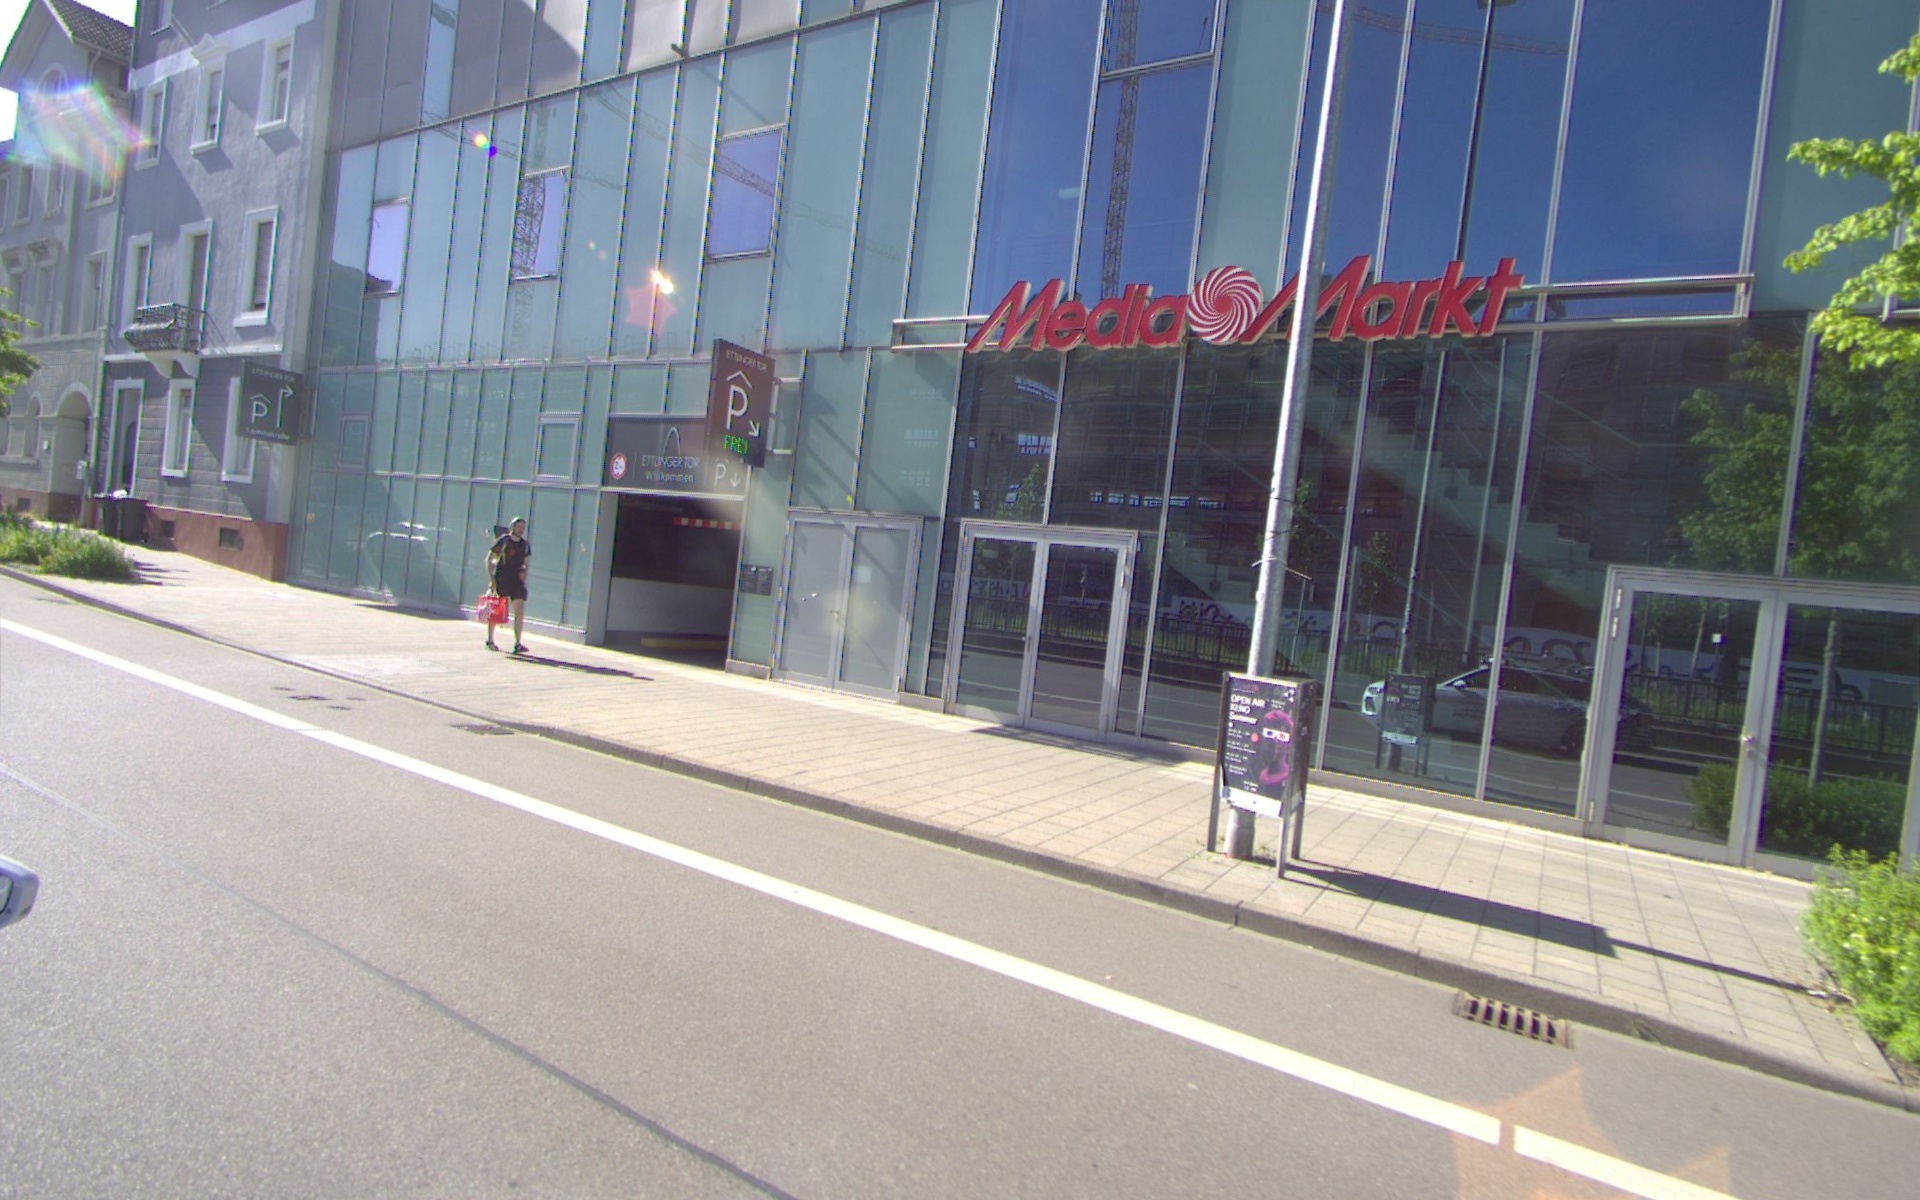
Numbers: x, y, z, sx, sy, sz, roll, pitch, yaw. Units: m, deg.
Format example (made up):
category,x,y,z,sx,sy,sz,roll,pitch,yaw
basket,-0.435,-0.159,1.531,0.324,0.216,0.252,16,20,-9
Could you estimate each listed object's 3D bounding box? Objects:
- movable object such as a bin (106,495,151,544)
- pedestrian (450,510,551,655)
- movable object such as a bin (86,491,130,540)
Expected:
category,x,y,z,sx,sy,sz,roll,pitch,yaw
movable object such as a bin,-20.552,-1.993,24.872,0.692,1.096,0.603,8,1,33
pedestrian,-6.602,-0.246,14.469,0.880,1.951,0.875,8,4,31
movable object such as a bin,-21.308,-2.110,25.164,0.692,1.122,0.589,8,1,33
